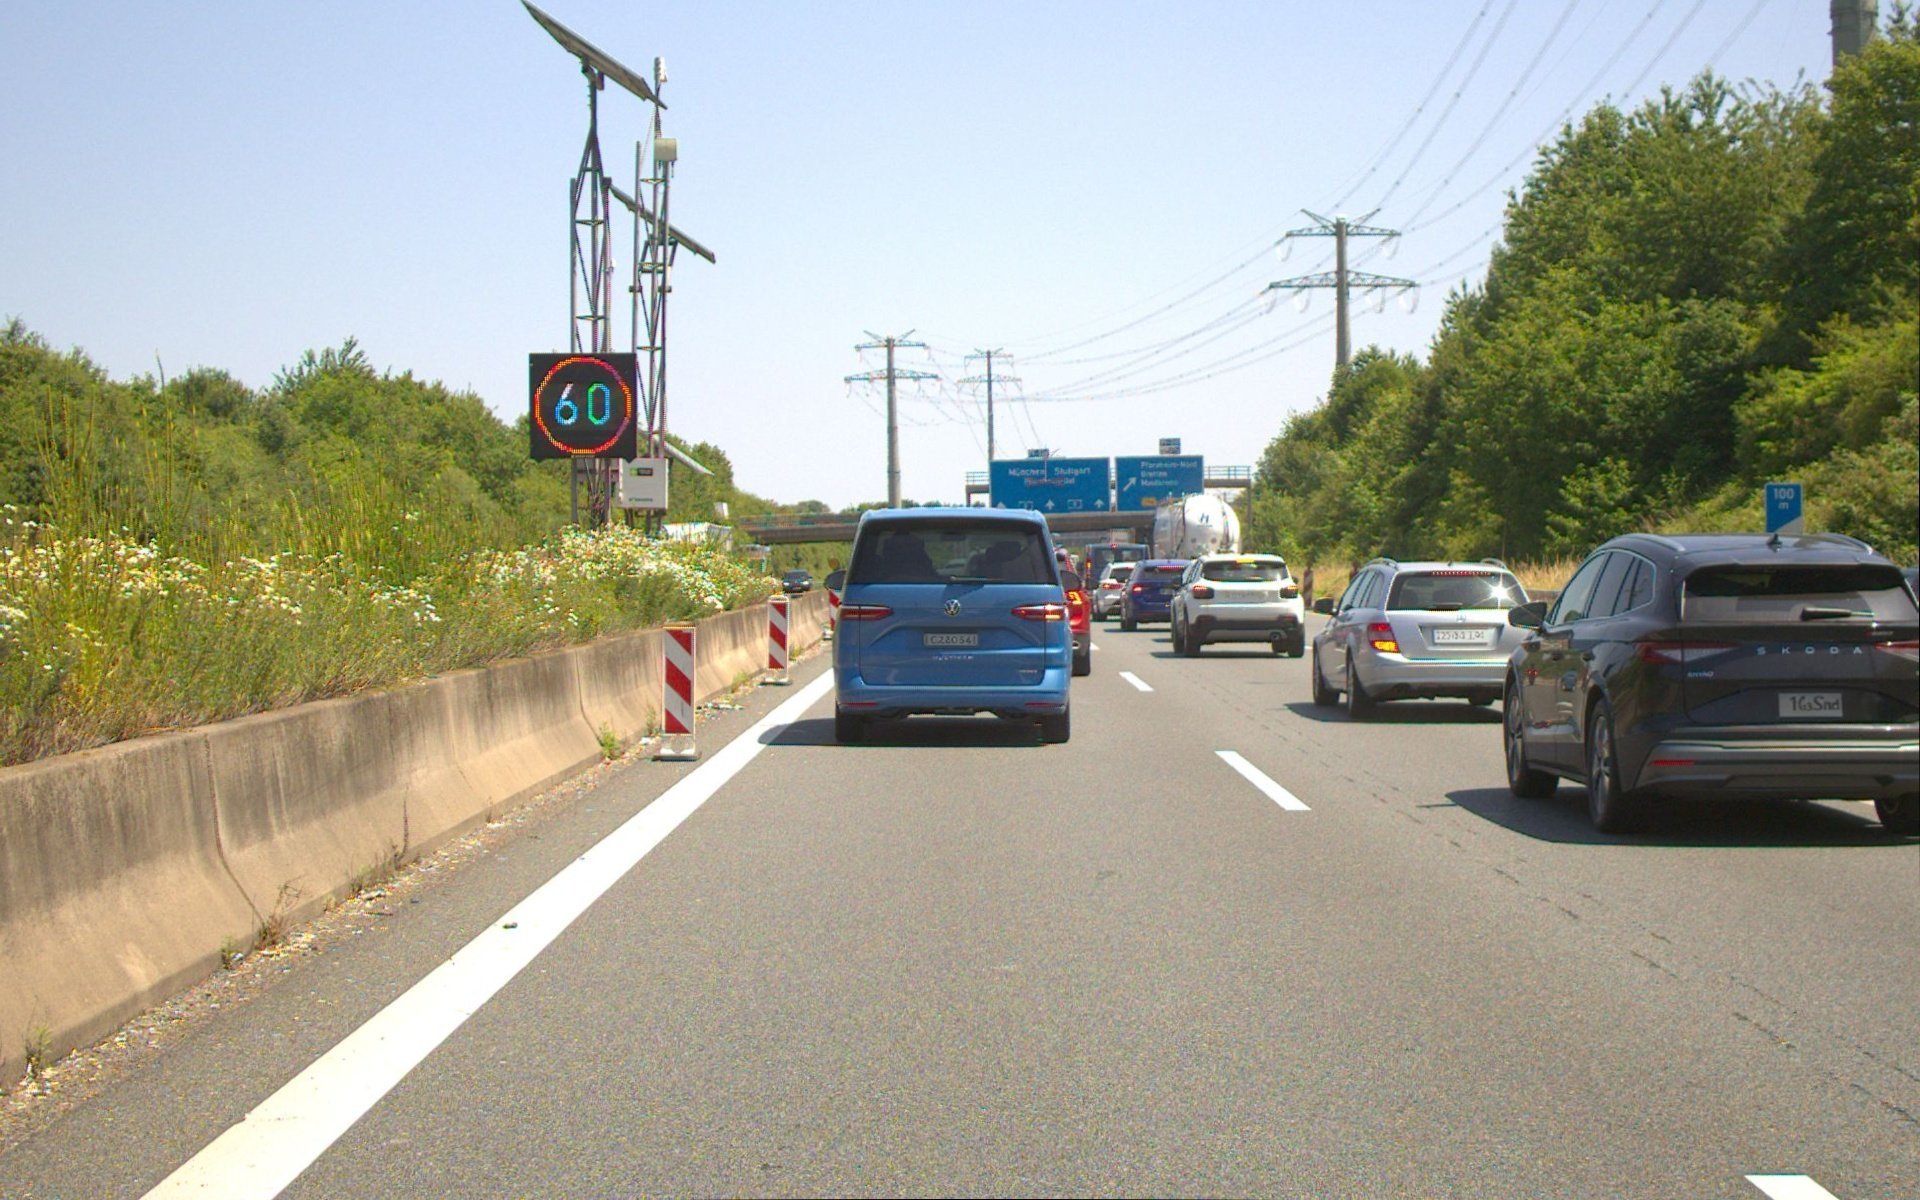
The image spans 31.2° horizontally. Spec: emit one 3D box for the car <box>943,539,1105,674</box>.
[{"bbox_3d":[0.763,0.053,43.658,1.908,1.625,4.384,0,1,-1],"label":"car"}]

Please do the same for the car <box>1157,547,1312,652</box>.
[{"bbox_3d":[4.115,-0.036,52.033,1.908,1.503,3.922,1,1,-2],"label":"car"}]

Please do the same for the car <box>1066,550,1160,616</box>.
[{"bbox_3d":[3.635,-0.430,82.480,1.908,1.511,4.384,1,1,-2],"label":"car"}]

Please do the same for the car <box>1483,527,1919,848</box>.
[{"bbox_3d":[4.248,0.399,19.505,1.828,1.609,4.431,0,1,-1],"label":"car"}]

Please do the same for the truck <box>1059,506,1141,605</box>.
[{"bbox_3d":[3.962,-1.275,98.156,1.993,2.714,5.680,1,1,-1],"label":"truck"}]

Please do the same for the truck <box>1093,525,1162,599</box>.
[{"bbox_3d":[8.311,-1.929,171.836,2.644,3.526,12.552,1,1,-1],"label":"truck"}]

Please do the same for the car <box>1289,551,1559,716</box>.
[{"bbox_3d":[4.288,0.263,32.403,1.821,1.432,4.384,1,1,-2],"label":"car"}]

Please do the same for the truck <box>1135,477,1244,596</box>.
[{"bbox_3d":[8.355,-2.307,126.943,2.644,4.058,16.442,1,1,-1],"label":"truck"}]

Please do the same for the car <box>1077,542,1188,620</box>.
[{"bbox_3d":[3.497,-0.411,70.273,1.908,1.511,4.384,1,1,-2],"label":"car"}]

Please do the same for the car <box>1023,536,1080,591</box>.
[{"bbox_3d":[3.430,-1.394,129.441,1.993,2.007,4.000,1,1,-1],"label":"car"}]

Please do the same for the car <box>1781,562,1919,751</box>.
[{"bbox_3d":[7.870,0.409,26.903,1.734,1.373,4.303,1,1,-2],"label":"car"}]

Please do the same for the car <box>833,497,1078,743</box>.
[{"bbox_3d":[-0.109,0.125,28.744,1.871,1.872,4.384,1,1,-2],"label":"car"}]

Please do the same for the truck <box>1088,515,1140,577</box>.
[{"bbox_3d":[10.972,-3.868,246.389,2.938,4.276,12.552,1,1,-1],"label":"truck"}]
